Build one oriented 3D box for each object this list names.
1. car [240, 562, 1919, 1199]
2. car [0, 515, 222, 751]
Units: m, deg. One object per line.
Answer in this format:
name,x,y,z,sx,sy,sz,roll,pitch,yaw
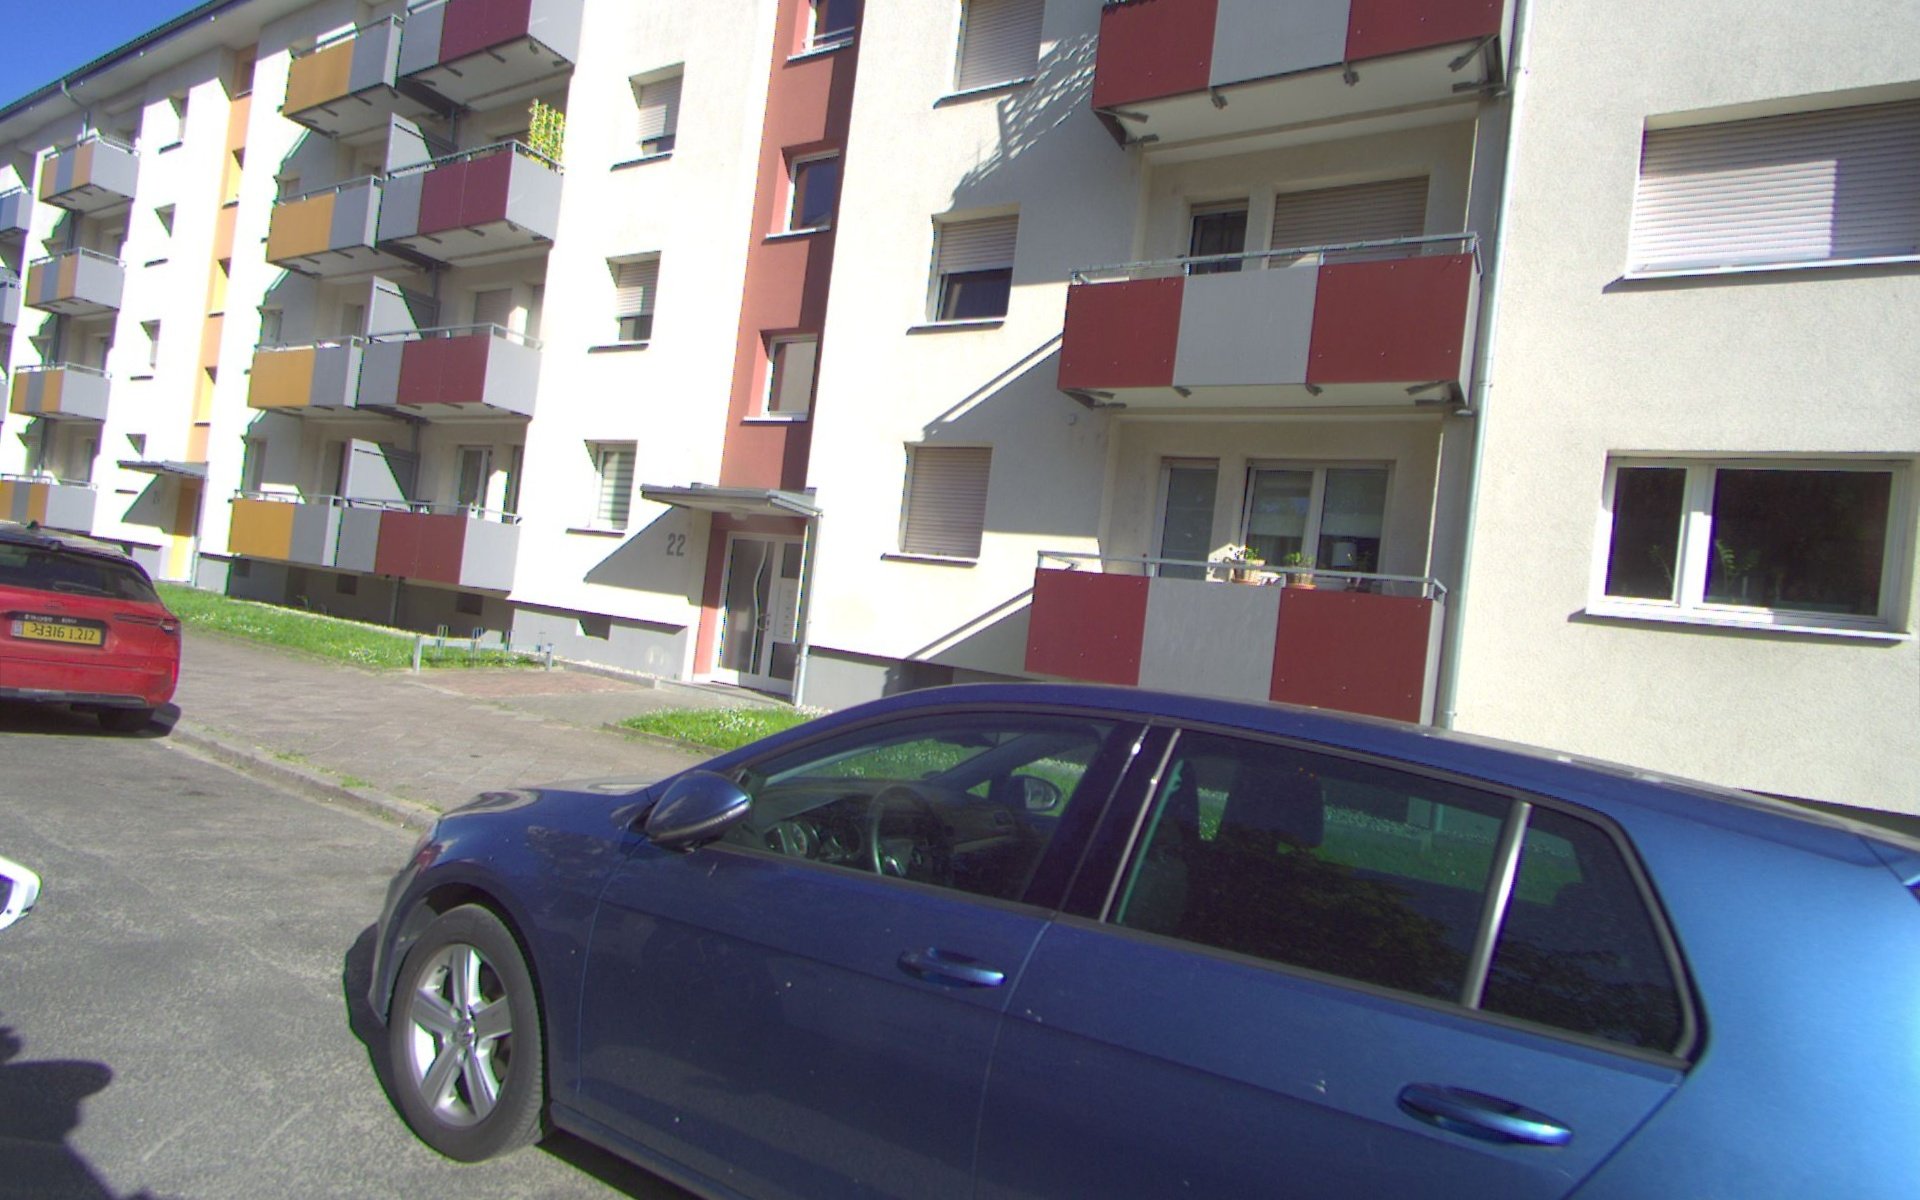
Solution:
car,0.071,0.890,2.804,4.011,1.498,1.756,6,-2,30
car,-7.711,0.053,7.763,4.450,1.461,1.754,6,-1,34
